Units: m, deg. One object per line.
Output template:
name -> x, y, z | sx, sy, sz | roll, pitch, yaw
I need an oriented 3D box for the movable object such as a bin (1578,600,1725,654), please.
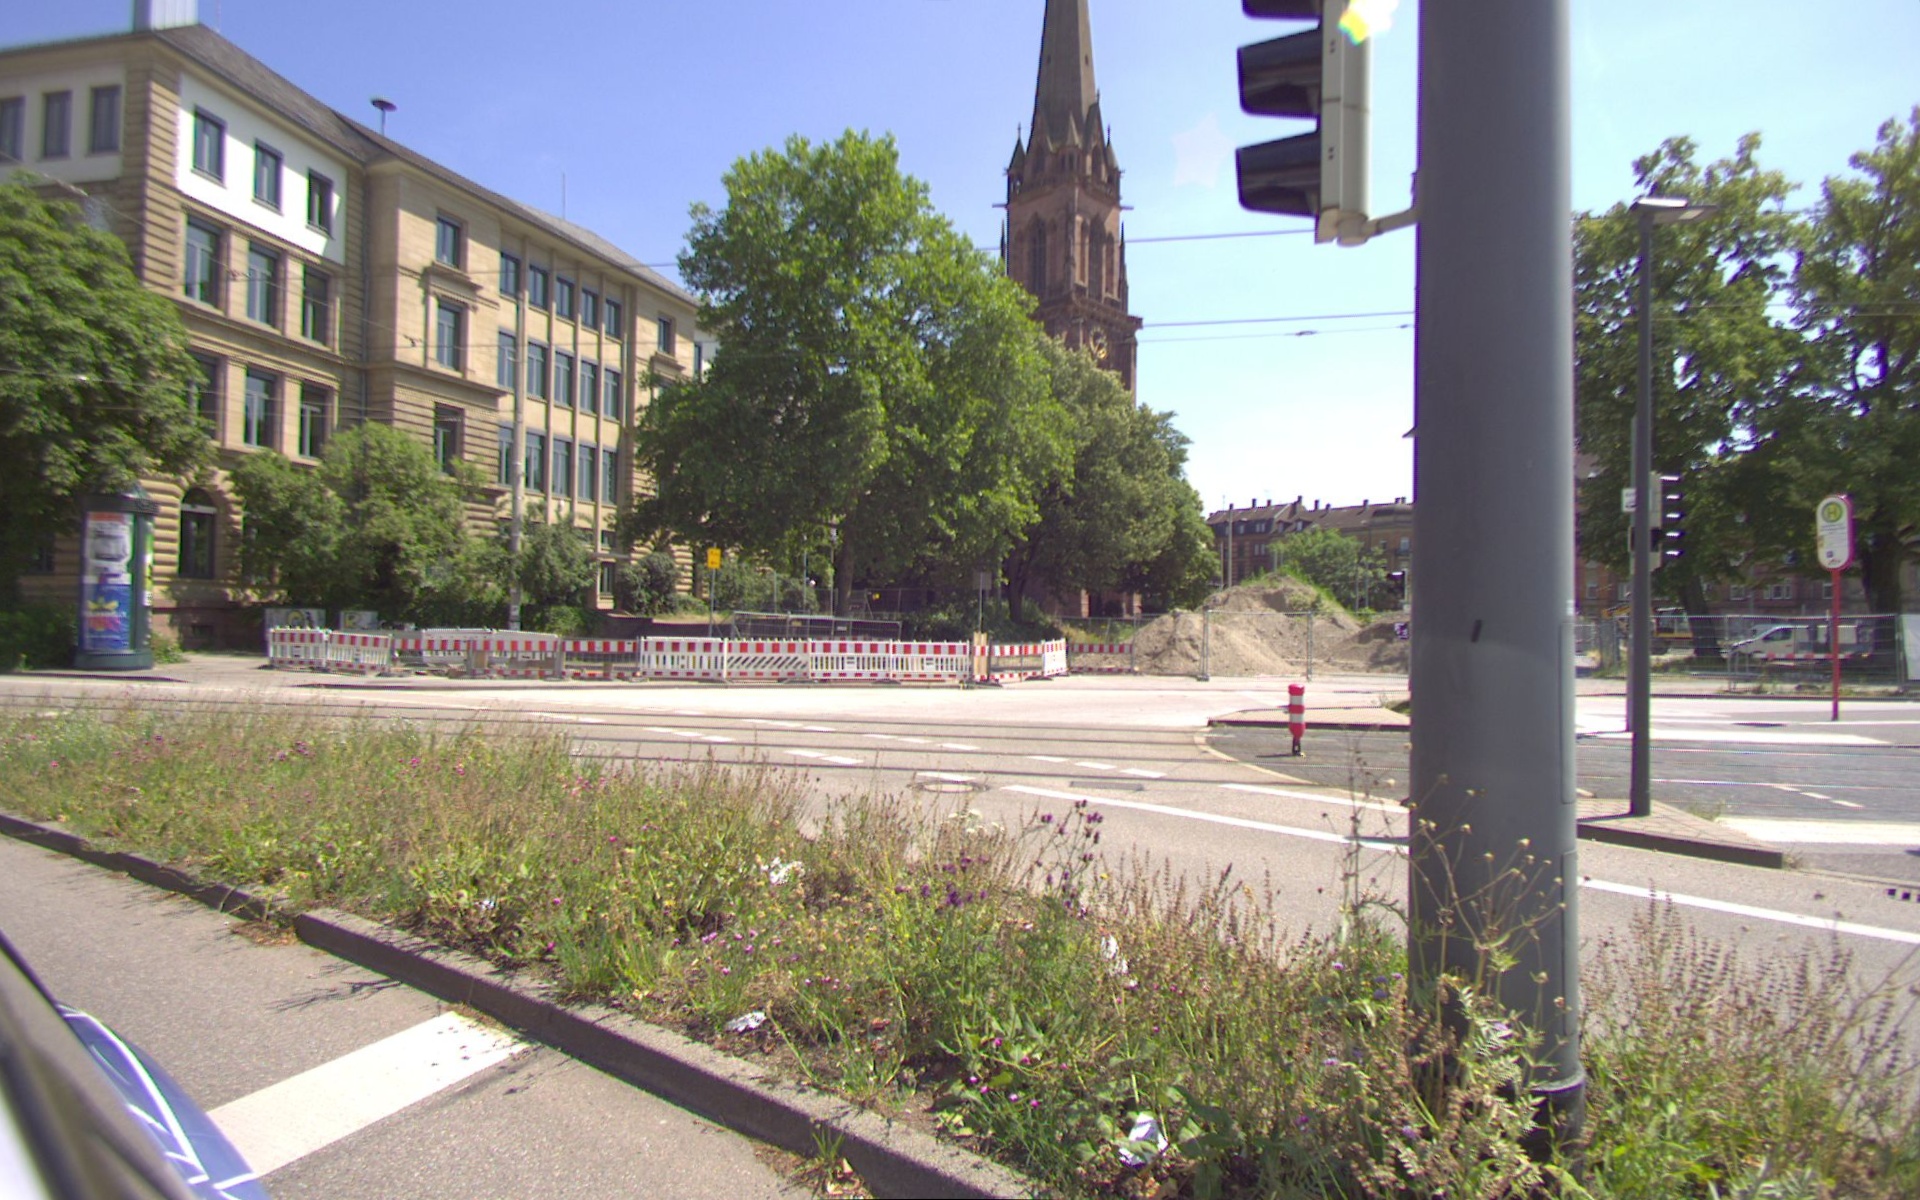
movable object such as a bin -> 46.217, 1.729, 67.878 | 7.956, 3.414, 2.875 | -1, 0, 35

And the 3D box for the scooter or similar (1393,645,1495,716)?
scooter or similar -> 7.872, 1.296, 16.496 | 1.447, 1.068, 0.335 | -1, 0, 40

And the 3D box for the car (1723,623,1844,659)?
car -> 39.211, 1.915, 48.328 | 4.229, 1.614, 1.764 | -1, 0, 31
